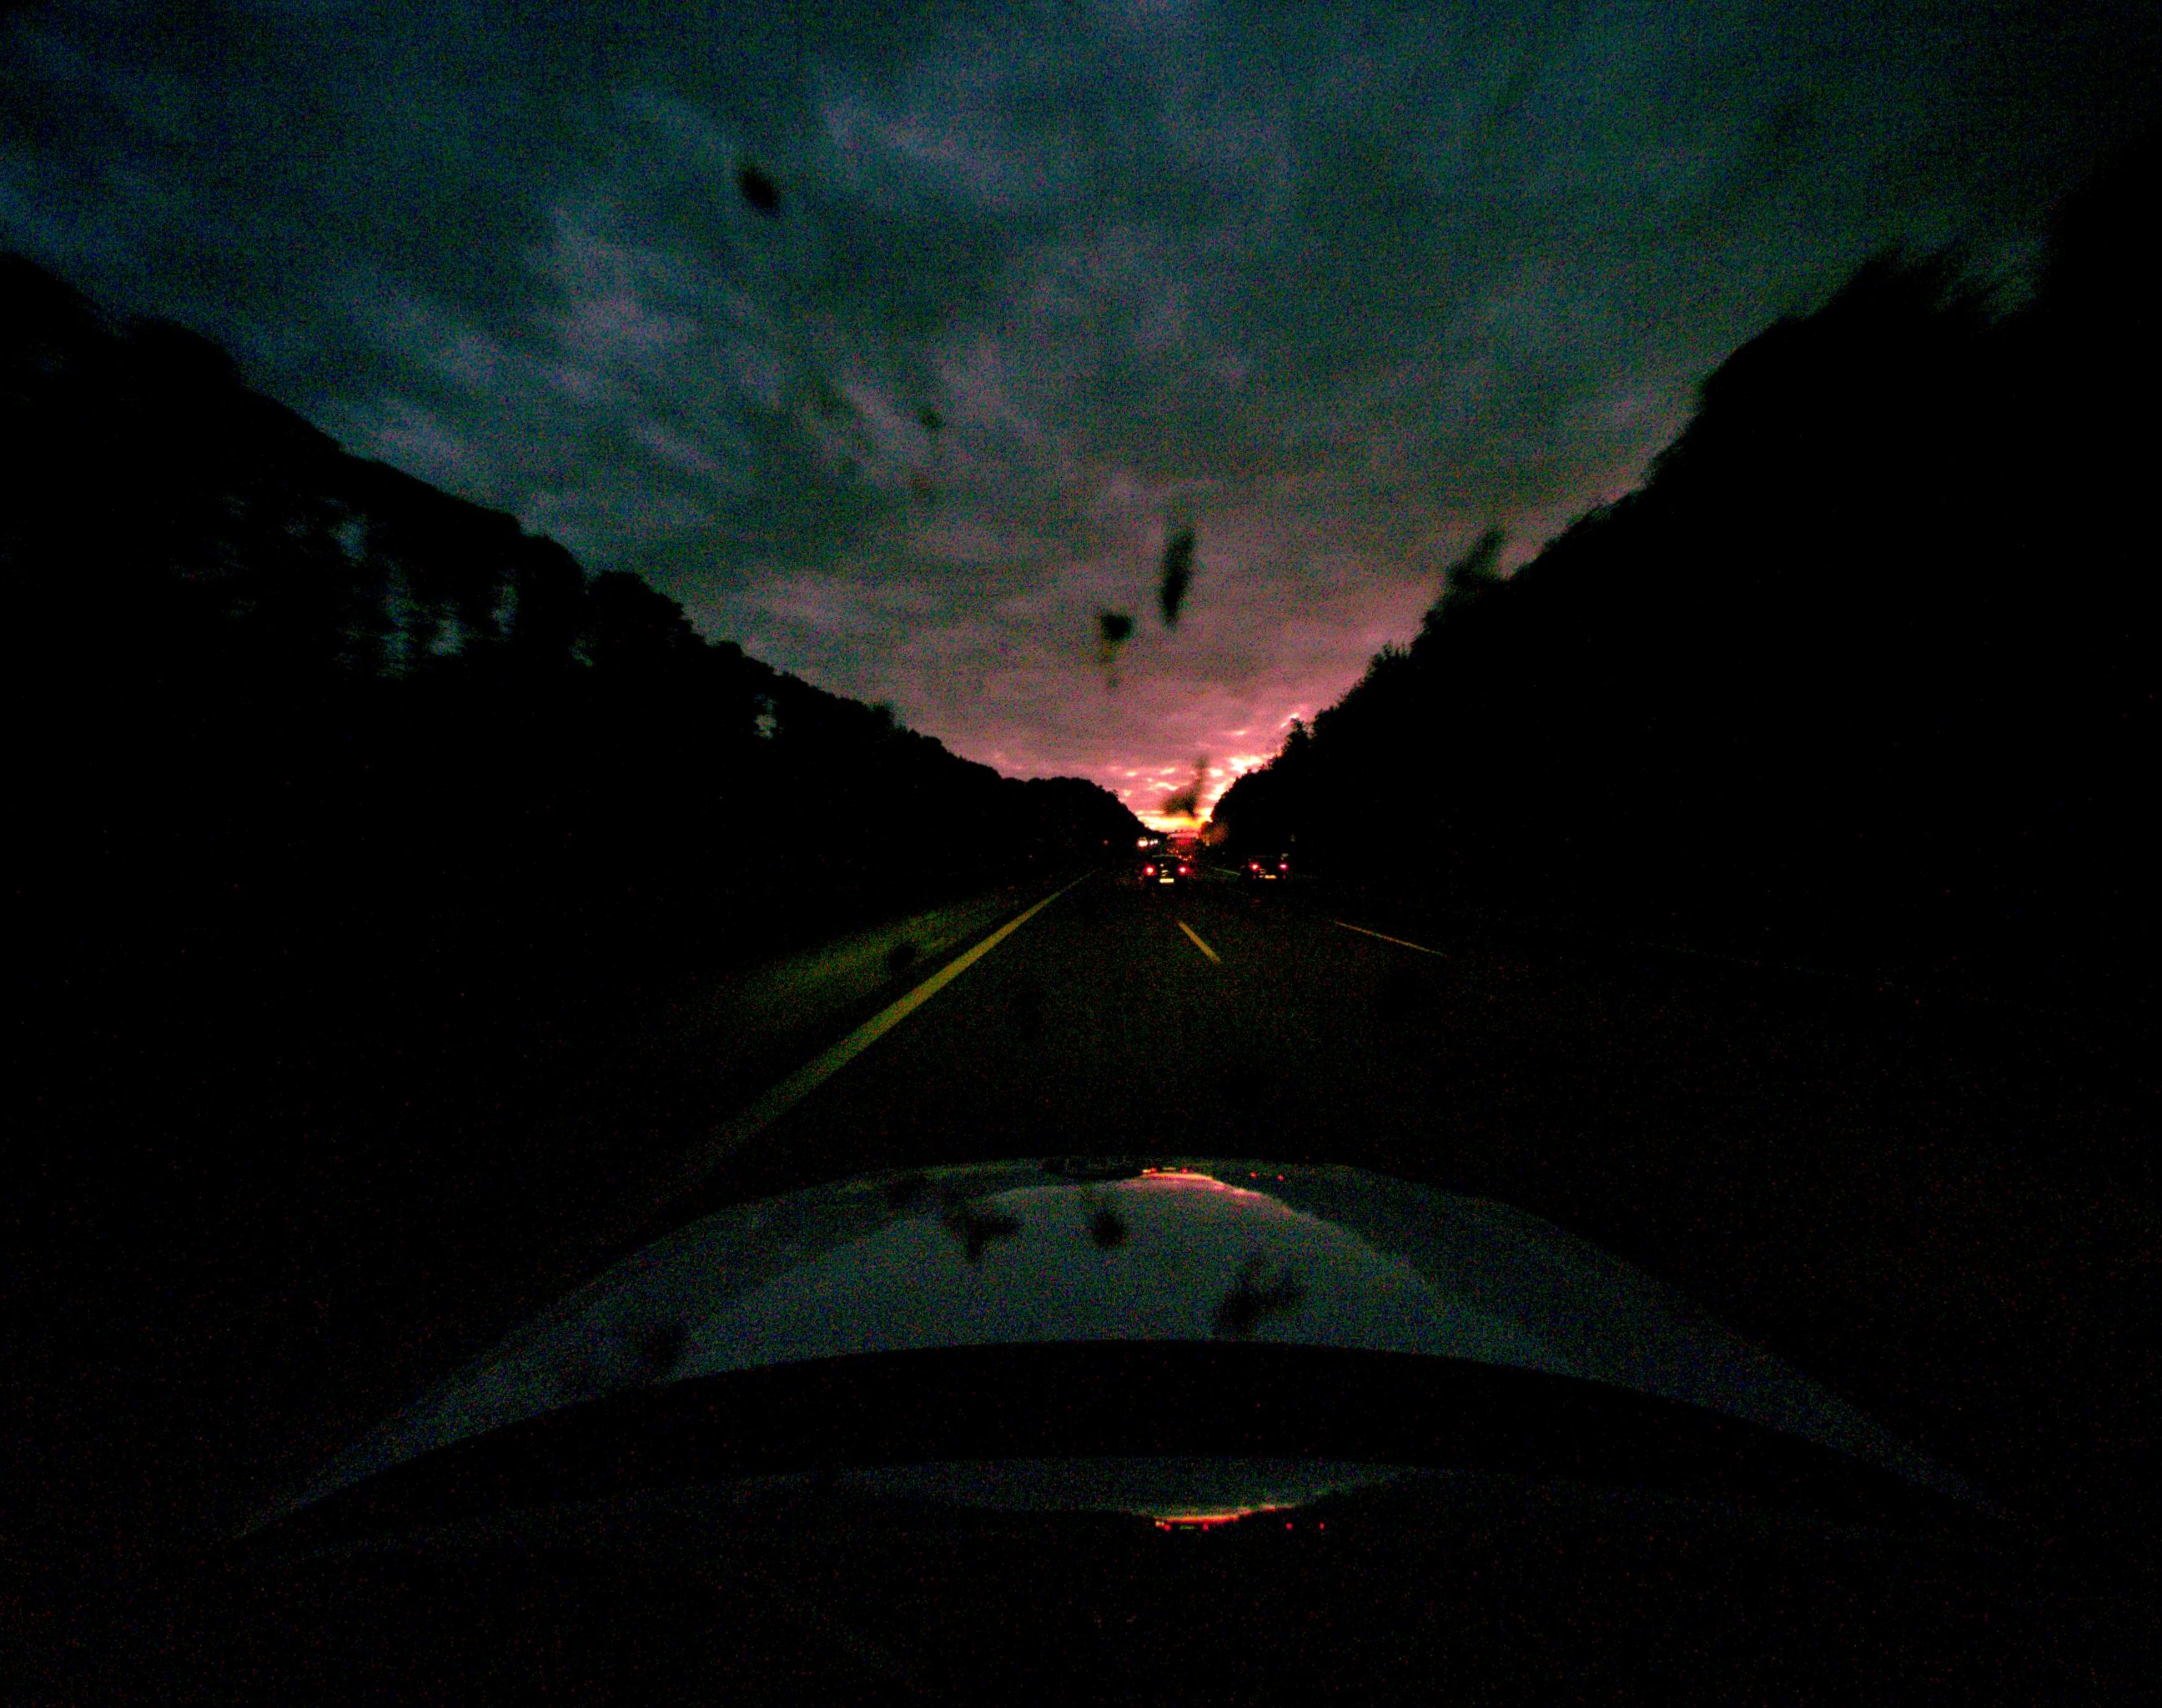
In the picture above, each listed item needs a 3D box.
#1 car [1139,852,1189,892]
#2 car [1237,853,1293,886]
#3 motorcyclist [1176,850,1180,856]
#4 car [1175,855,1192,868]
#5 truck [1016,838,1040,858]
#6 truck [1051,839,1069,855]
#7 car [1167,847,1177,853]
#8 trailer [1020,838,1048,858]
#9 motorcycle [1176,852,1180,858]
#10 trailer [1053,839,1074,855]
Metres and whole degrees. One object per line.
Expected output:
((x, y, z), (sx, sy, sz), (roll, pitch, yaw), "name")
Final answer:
((3.280, 0.686, 32.891), (1.697, 1.509, 4.233), (0, 0, 2), "car")
((8.714, 0.690, 38.984), (1.857, 1.435, 4.587), (0, 1, 3), "car")
((19.425, -0.227, 162.897), (0.825, 1.291, 1.192), (-2, 0, 7), "motorcyclist")
((12.632, 0.929, 100.721), (1.818, 1.476, 4.403), (0, 0, 3), "car")
((-11.089, -1.194, 171.340), (3.172, 4.104, 7.708), (-1, 0, 9), "truck")
((-5.361, -1.913, 211.938), (3.172, 4.104, 7.708), (-1, 0, 9), "truck")
((20.429, -0.897, 183.120), (1.857, 1.494, 4.403), (0, 0, 3), "car")
((-10.160, -1.299, 177.663), (3.173, 4.104, 13.773), (-1, 0, 8), "trailer")
((19.449, 0.284, 162.964), (0.825, 1.134, 2.481), (-2, 0, 8), "motorcycle")
((-4.512, -1.906, 217.489), (3.172, 4.104, 14.219), (-1, 0, 9), "trailer")
